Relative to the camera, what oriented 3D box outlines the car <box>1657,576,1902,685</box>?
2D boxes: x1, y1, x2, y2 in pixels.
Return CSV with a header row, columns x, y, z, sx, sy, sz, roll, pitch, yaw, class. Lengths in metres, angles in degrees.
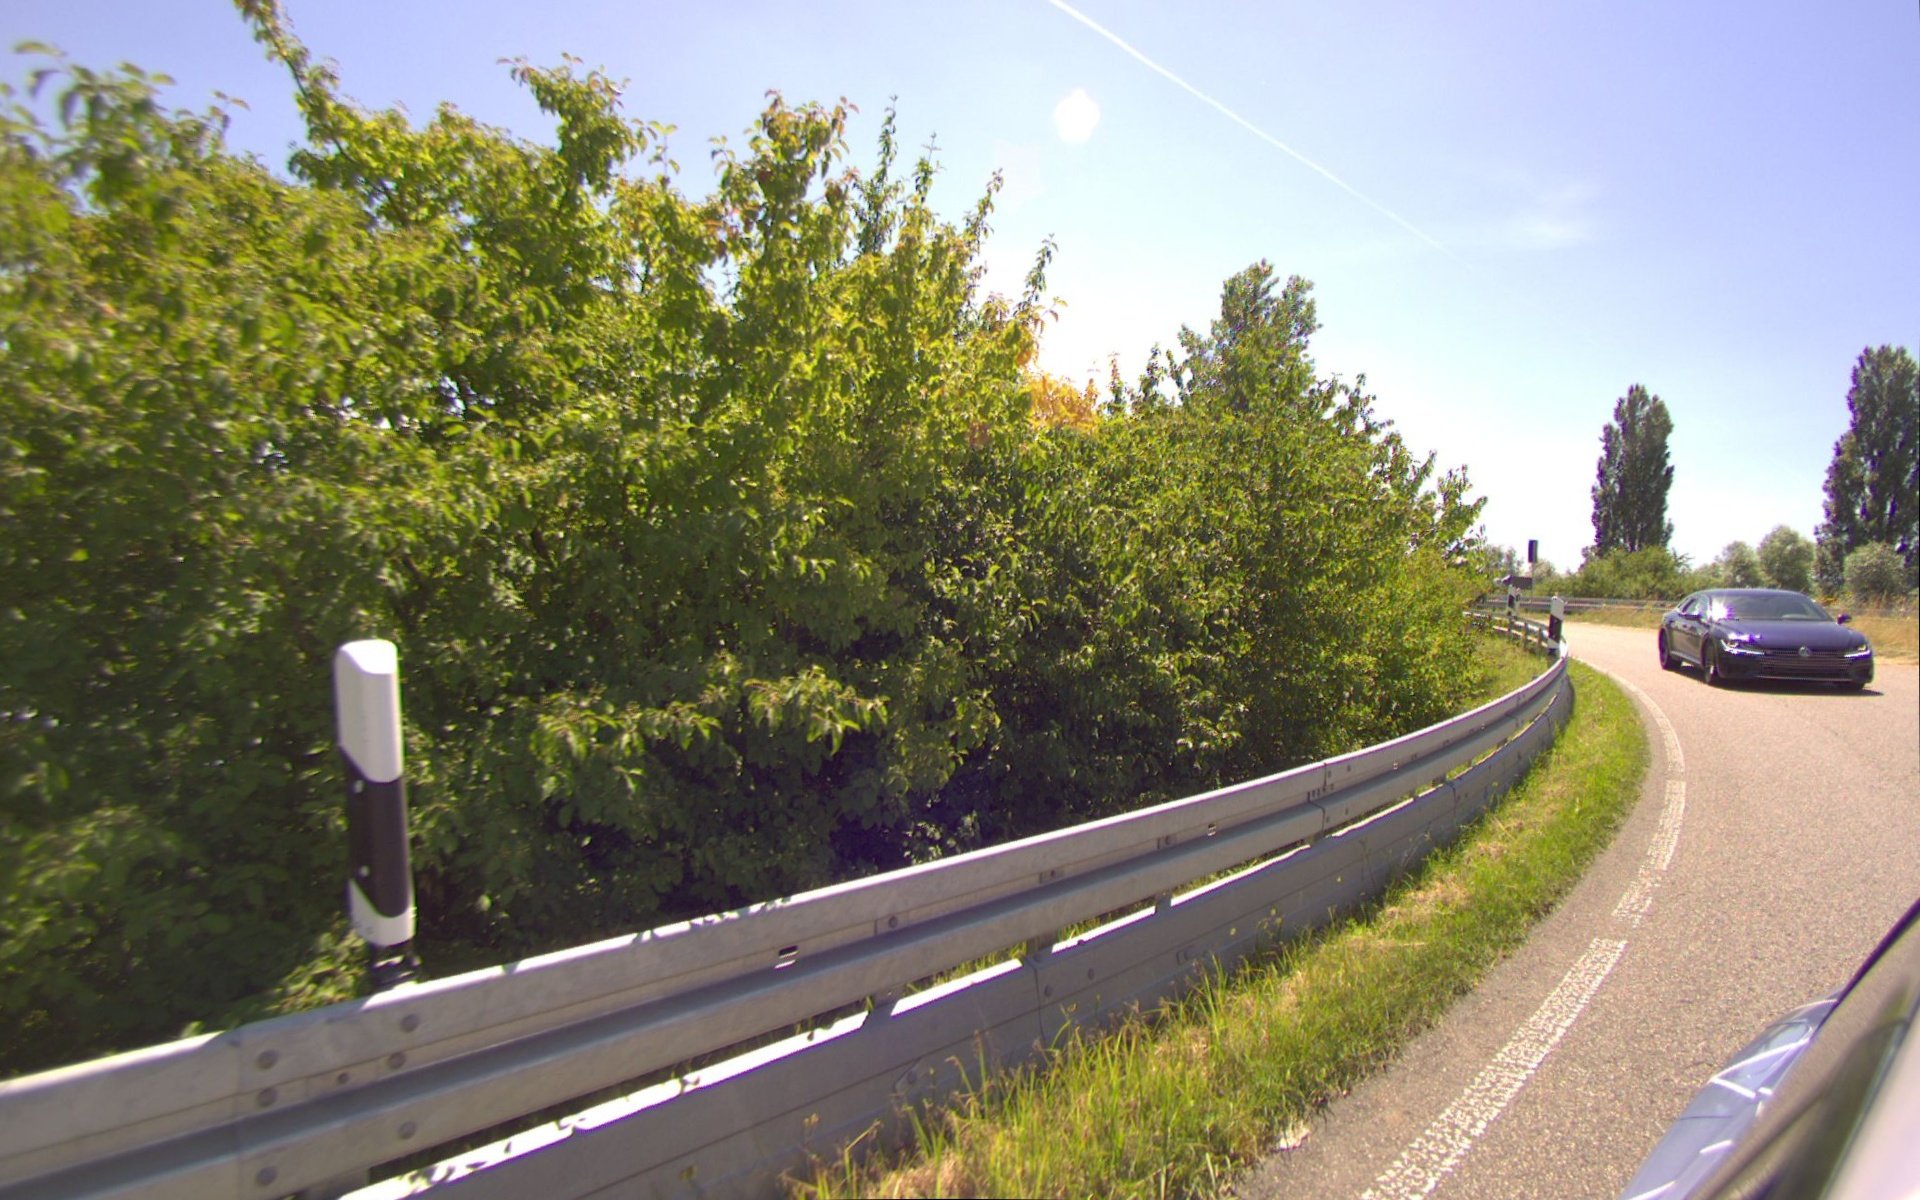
x,y,z,sx,sy,sz,roll,pitch,yaw,class
12.639,0.396,15.976,1.824,1.448,4.497,-2,0,24,car
